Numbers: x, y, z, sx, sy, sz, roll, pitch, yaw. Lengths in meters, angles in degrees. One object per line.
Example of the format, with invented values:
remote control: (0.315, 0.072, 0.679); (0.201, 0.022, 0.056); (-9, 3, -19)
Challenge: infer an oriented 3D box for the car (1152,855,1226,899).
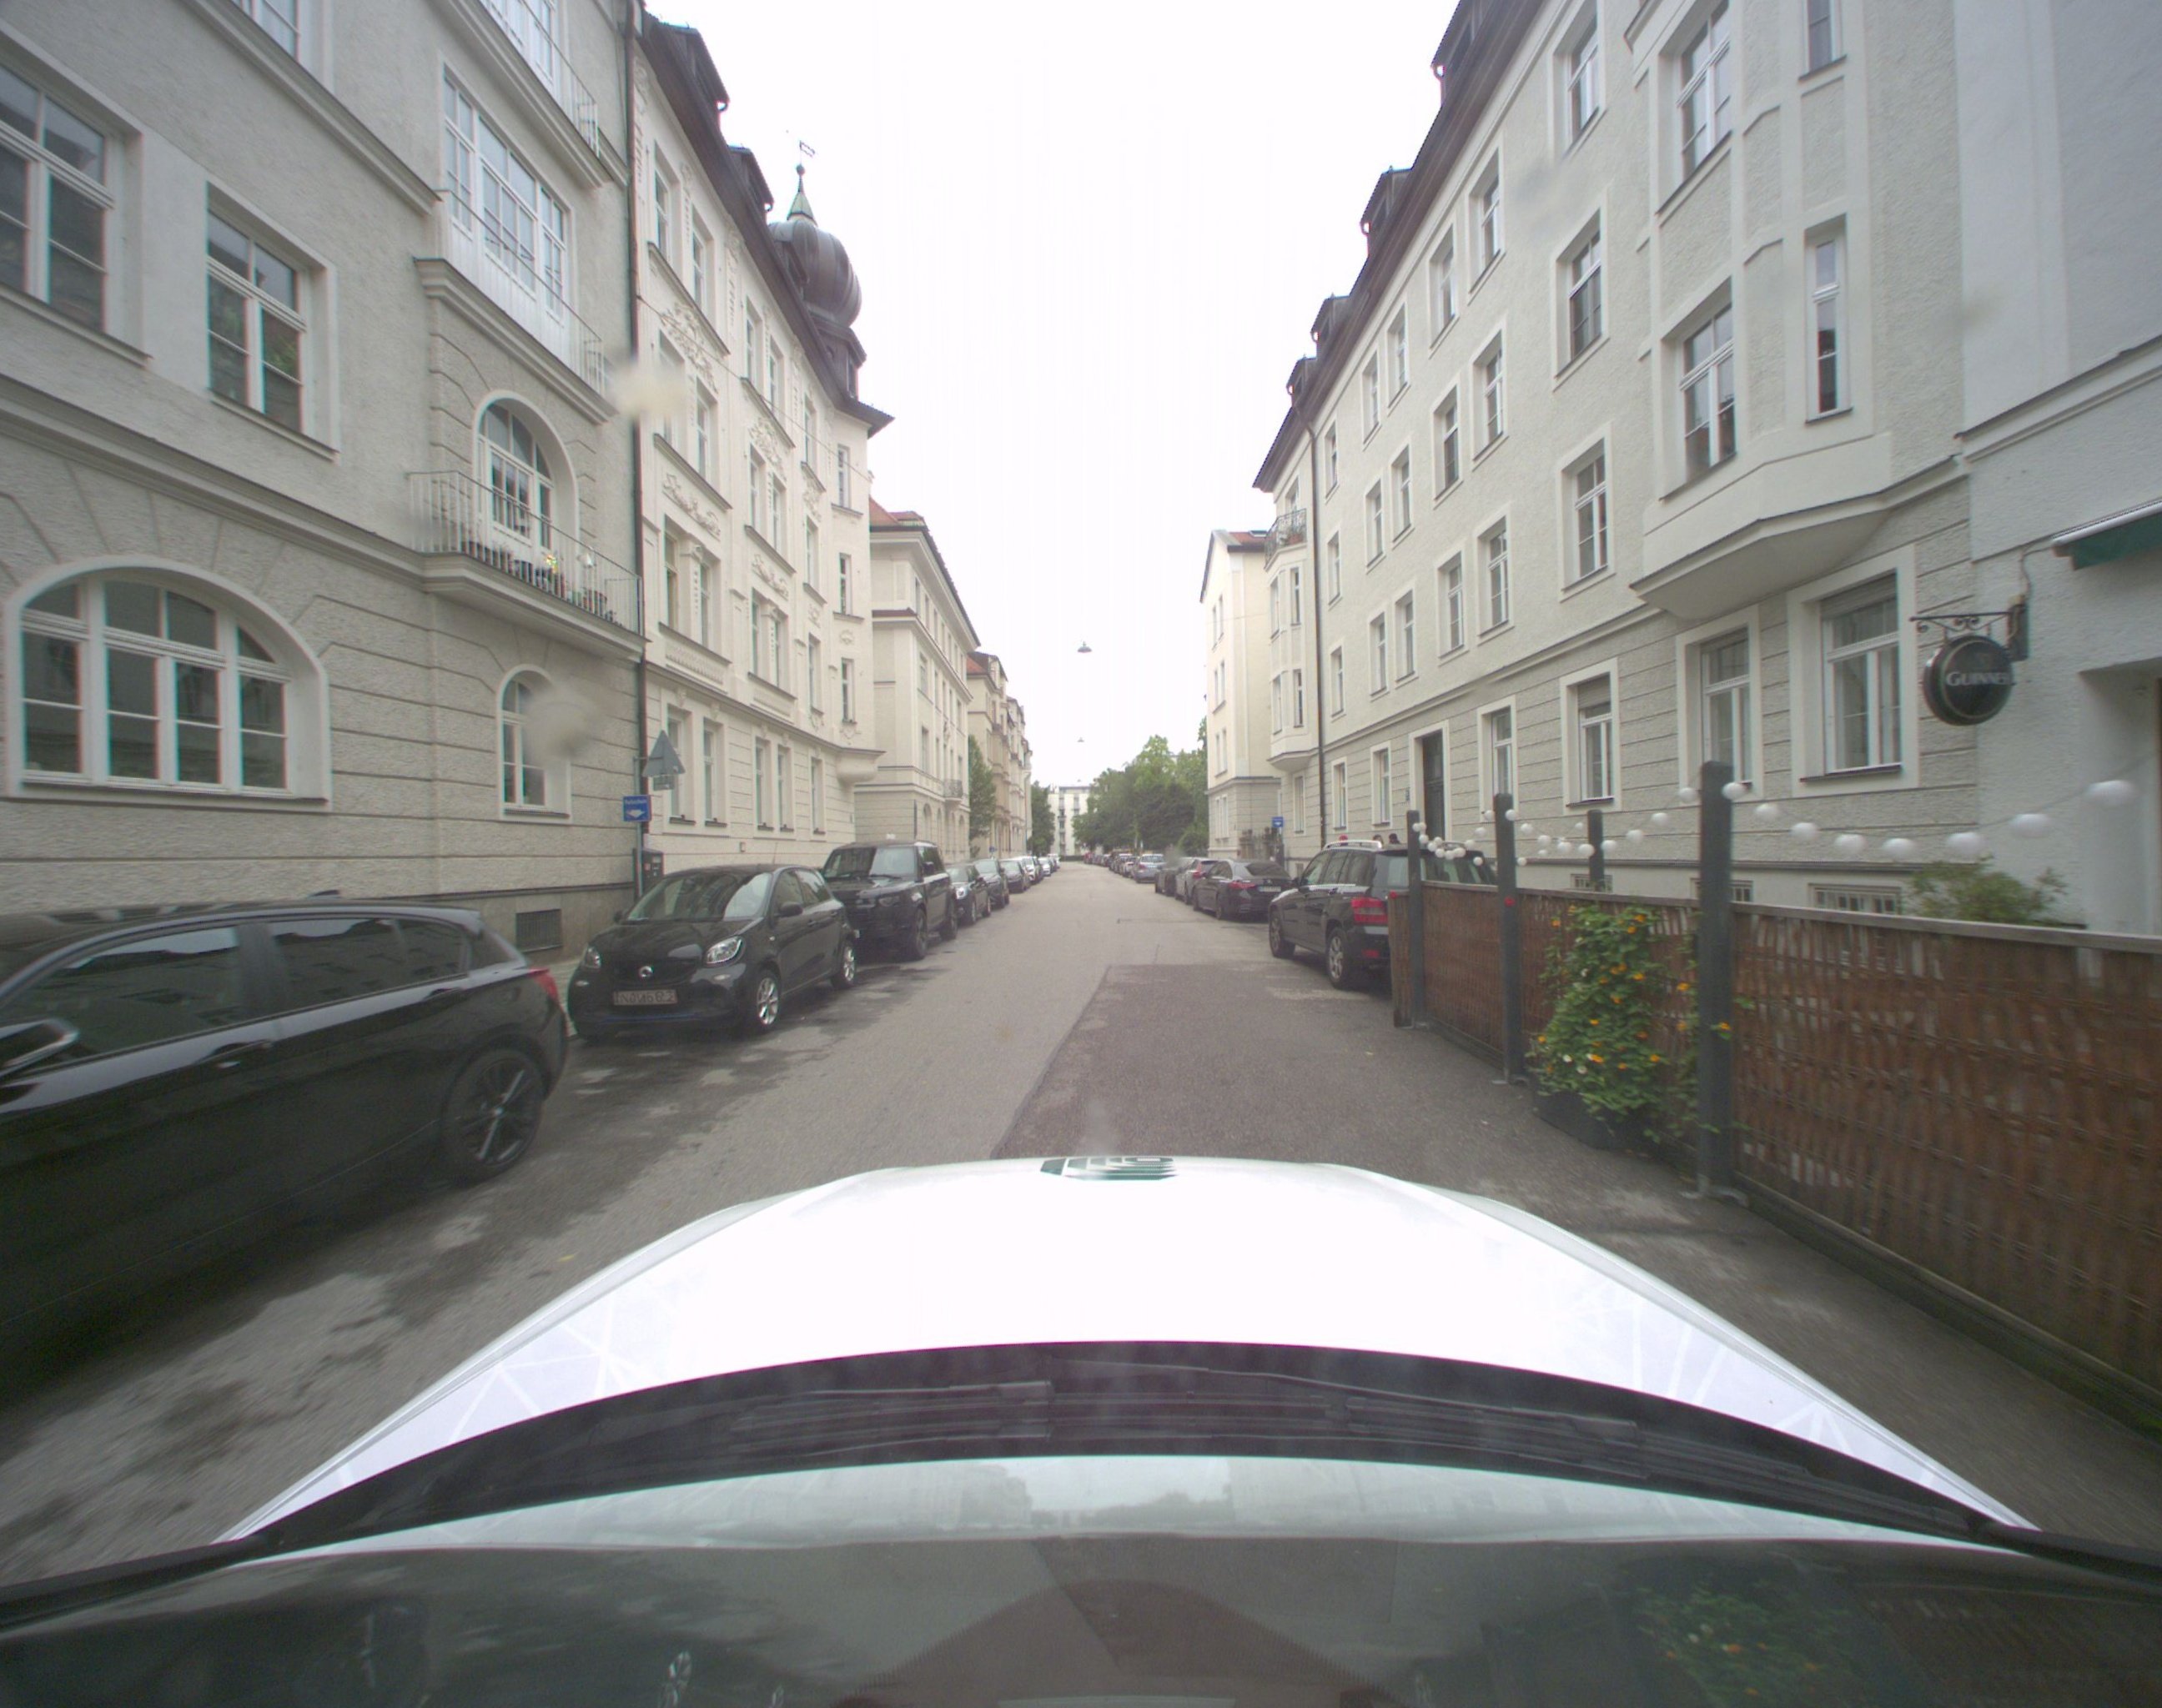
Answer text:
car: (4.015, 0.811, 30.987); (1.989, 1.457, 4.709); (-2, 0, -2)

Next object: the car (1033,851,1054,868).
car: (-3.484, 0.504, 77.022); (1.828, 1.434, 4.551); (-3, 1, -1)

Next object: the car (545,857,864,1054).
car: (-3.579, 0.841, 8.488); (1.611, 1.513, 3.531); (-3, 0, 0)

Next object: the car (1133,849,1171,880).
car: (3.889, 0.565, 45.039); (1.815, 1.569, 4.402); (1, 1, 2)

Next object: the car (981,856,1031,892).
car: (-3.327, 0.854, 36.931); (1.787, 1.415, 4.277); (-4, 0, 0)

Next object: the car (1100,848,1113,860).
car: (3.506, 0.014, 110.840); (1.510, 1.661, 3.670); (0, 0, -3)

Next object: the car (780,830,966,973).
car: (-3.258, 0.639, 13.805); (1.831, 1.894, 4.762); (-4, 1, 0)

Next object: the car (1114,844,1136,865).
car: (3.931, 0.052, 73.070); (1.717, 1.769, 4.413); (1, 0, 0)

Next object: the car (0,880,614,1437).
car: (-3.756, 0.915, 2.856); (1.648, 1.407, 4.095); (-3, 0, 3)

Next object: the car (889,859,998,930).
car: (-3.263, 0.906, 20.167); (1.830, 1.394, 4.245); (-4, 1, 1)

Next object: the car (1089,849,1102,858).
car: (2.443, -0.002, 139.522); (1.835, 1.519, 3.942); (0, 0, -4)

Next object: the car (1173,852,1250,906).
car: (4.024, 0.712, 25.808); (1.755, 1.485, 4.420); (1, 1, 0)

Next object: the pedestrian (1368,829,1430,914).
pedestrian: (6.971, 0.378, 17.902); (0.880, 1.786, 1.111); (-1, 0, 0)

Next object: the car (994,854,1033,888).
car: (-3.394, 0.837, 41.624); (1.779, 1.541, 4.252); (-4, 0, -4)

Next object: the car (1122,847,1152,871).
car: (3.819, 0.324, 55.836); (1.779, 1.504, 4.064); (-1, 0, 0)

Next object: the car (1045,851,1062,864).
car: (-3.451, 0.375, 103.157); (1.830, 1.438, 4.274); (-4, 1, 0)

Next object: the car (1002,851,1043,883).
car: (-3.278, 0.705, 46.617); (1.909, 1.618, 4.571); (-2, 1, 0)

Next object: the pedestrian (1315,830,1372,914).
pedestrian: (5.920, 0.394, 18.442); (0.880, 1.811, 1.110); (-1, 0, -1)

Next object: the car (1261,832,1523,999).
car: (3.665, 0.615, 10.461); (1.794, 1.675, 4.190); (-1, 0, 1)

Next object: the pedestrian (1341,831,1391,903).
pedestrian: (7.351, 0.321, 21.075); (0.880, 1.813, 1.111); (-2, 0, 1)

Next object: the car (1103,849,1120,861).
car: (3.752, 0.176, 100.914); (1.833, 1.413, 4.341); (-1, 0, 0)

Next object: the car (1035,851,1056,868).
car: (-3.591, 0.534, 82.482); (1.830, 1.435, 4.244); (-4, 1, 0)

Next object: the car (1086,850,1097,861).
car: (1.942, 0.206, 150.326); (1.829, 1.926, 4.006); (1, 1, 2)

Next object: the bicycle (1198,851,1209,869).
bicycle: (8.017, 0.394, 53.320); (0.433, 1.125, 1.882); (-2, 0, 0)

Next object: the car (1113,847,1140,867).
car: (3.776, 0.246, 68.159); (1.746, 1.610, 4.418); (0, 1, -4)

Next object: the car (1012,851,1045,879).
car: (-3.331, 0.678, 52.213); (1.831, 1.618, 4.243); (-2, 1, -1)

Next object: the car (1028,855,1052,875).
car: (-3.377, 0.860, 67.533); (1.831, 1.434, 4.242); (-3, 1, -2)

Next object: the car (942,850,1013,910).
car: (-3.138, 0.737, 25.484); (1.722, 1.618, 4.118); (-4, 0, -2)

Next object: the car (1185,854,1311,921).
car: (3.977, 0.726, 20.291); (1.832, 1.399, 4.967); (0, 1, -4)
